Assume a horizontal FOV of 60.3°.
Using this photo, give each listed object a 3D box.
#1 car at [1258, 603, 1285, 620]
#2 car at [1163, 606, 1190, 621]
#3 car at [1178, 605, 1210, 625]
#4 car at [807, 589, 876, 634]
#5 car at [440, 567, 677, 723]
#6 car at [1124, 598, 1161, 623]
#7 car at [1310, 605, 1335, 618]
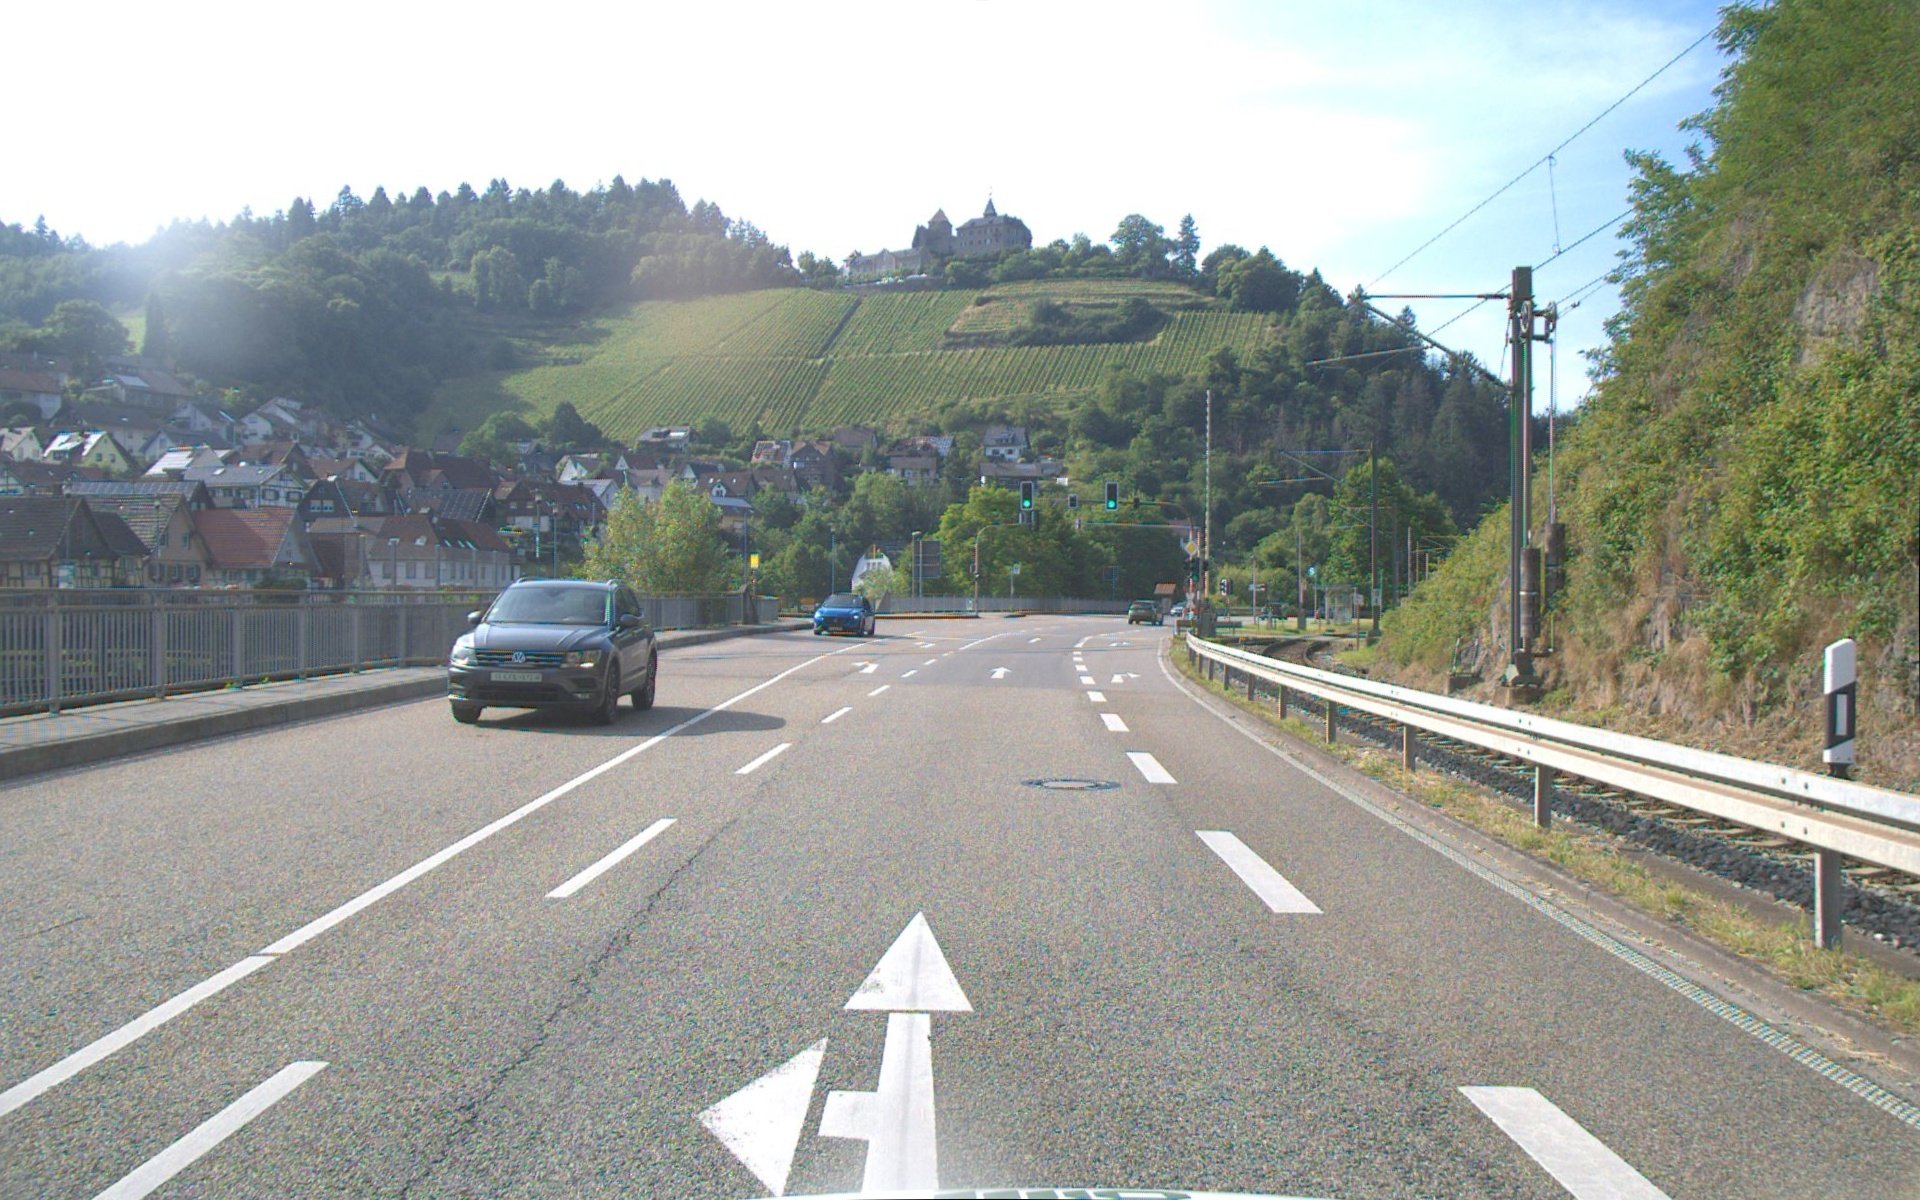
[{"bbox_3d":[28.968,1.074,153.615,1.770,1.478,3.646,-1,-1,22],"label":"car"},{"bbox_3d":[19.811,1.215,151.515,1.611,1.253,4.095,2,0,19],"label":"car"},{"bbox_3d":[17.643,1.158,124.610,1.801,1.485,3.714,-1,-1,19],"label":"car"},{"bbox_3d":[-4.251,0.393,59.975,1.744,1.508,4.528,1,0,5],"label":"car"},{"bbox_3d":[-4.772,0.493,20.339,1.780,1.675,4.612,1,0,0],"label":"car"},{"bbox_3d":[11.455,0.660,103.478,1.692,1.482,3.412,-1,-1,17],"label":"car"},{"bbox_3d":[38.784,1.233,176.875,1.773,1.433,3.769,-1,-1,26],"label":"car"}]
